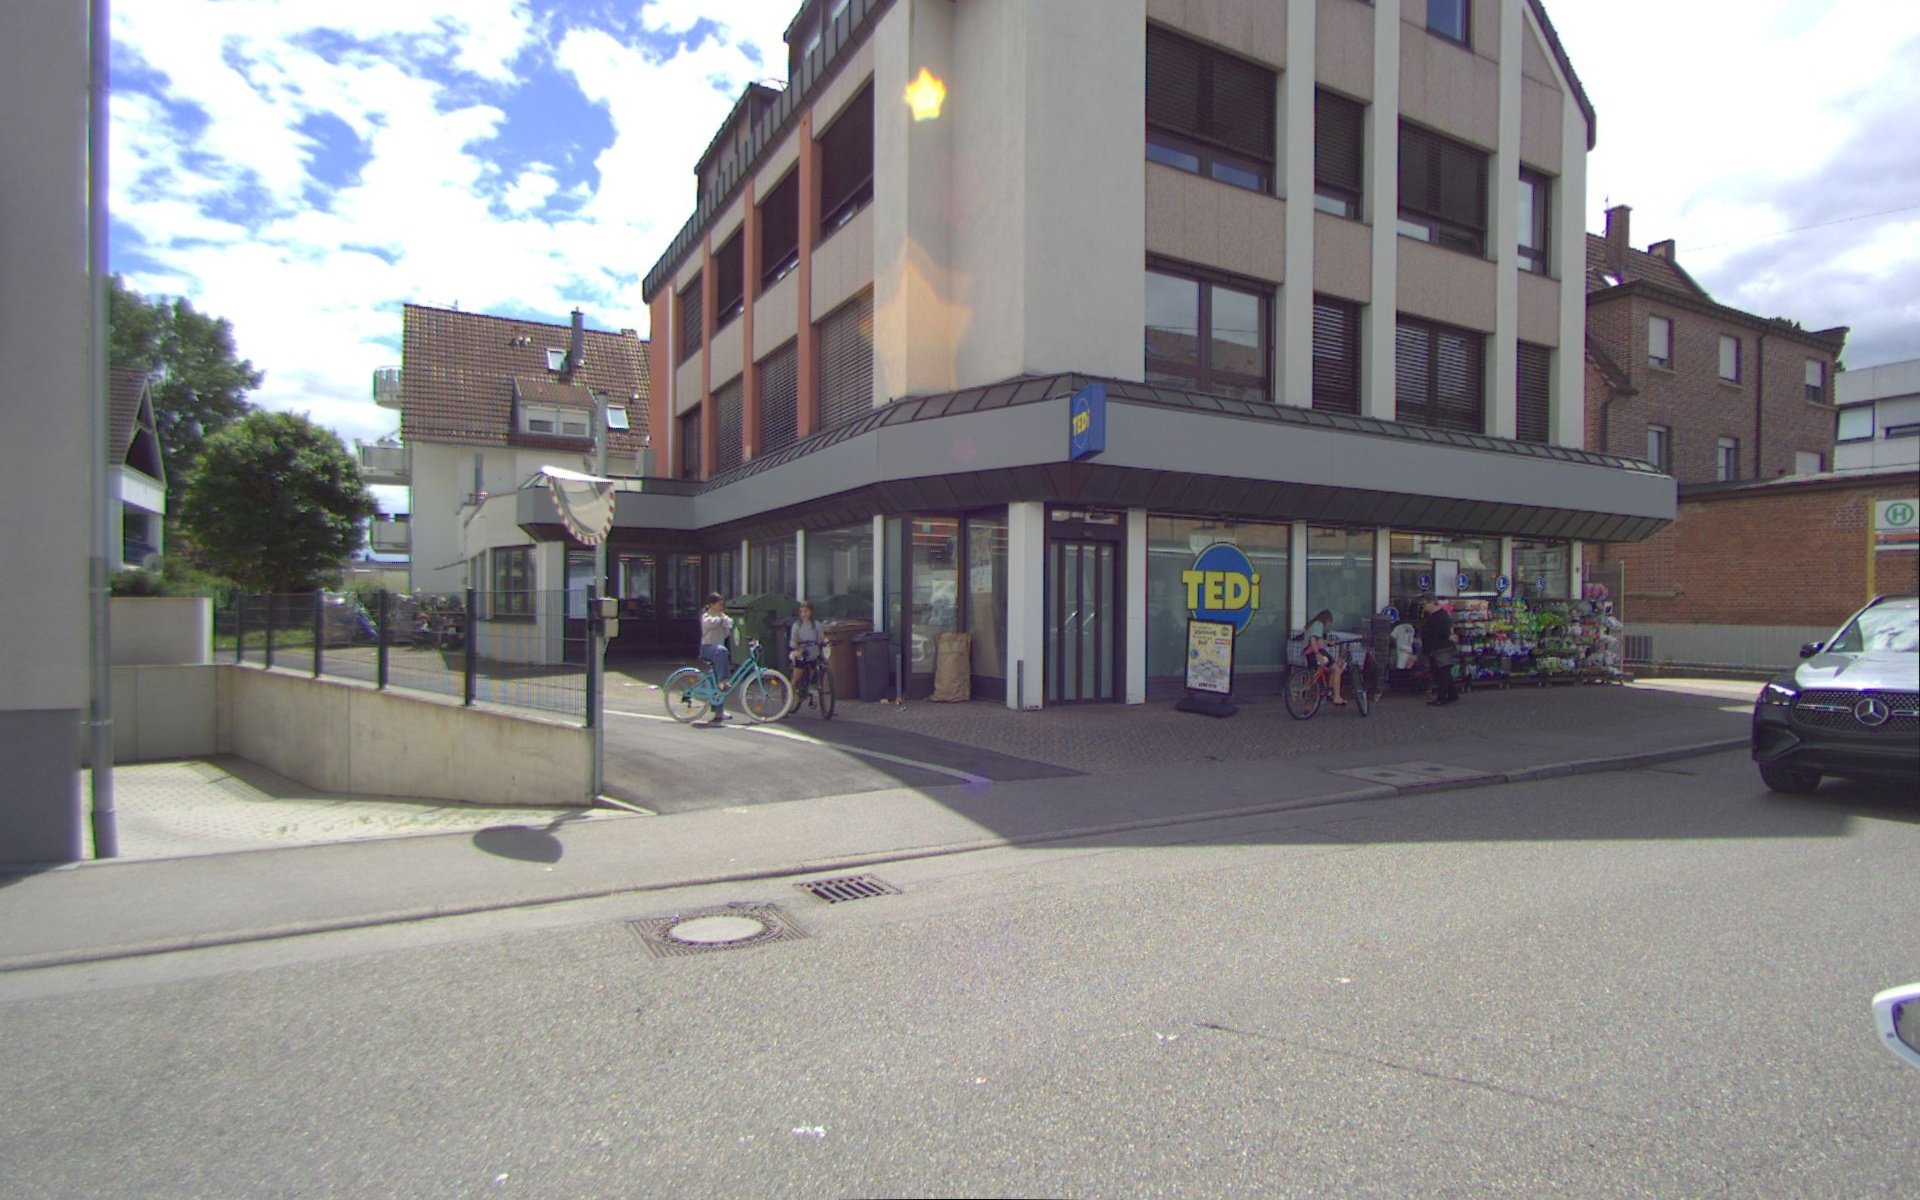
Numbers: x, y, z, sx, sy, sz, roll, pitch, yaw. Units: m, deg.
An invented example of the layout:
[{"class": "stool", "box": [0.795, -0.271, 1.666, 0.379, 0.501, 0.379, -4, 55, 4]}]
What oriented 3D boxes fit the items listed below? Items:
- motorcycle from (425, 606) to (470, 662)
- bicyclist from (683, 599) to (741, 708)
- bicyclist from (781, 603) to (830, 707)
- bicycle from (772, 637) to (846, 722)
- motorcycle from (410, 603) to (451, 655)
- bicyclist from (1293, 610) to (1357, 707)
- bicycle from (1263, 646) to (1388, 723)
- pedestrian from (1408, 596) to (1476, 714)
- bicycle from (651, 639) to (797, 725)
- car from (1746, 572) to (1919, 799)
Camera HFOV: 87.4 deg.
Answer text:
[{"class": "motorcycle", "box": [-13.779, 0.897, 26.962, 0.917, 1.380, 2.152, 2, 0, -30]}, {"class": "bicyclist", "box": [-2.825, 0.600, 11.464, 0.489, 1.197, 0.397, 2, 0, 11]}, {"class": "bicyclist", "box": [-1.837, 0.646, 11.954, 0.392, 1.197, 0.495, 2, 0, -30]}, {"class": "bicycle", "box": [-1.815, 0.914, 11.933, 0.299, 0.908, 1.543, 1, -1, -31]}, {"class": "motorcycle", "box": [-15.383, 0.814, 29.148, 0.917, 1.380, 2.152, 2, 0, -30]}, {"class": "bicyclist", "box": [4.627, 0.727, 12.724, 0.617, 1.194, 0.456, 2, -1, -30]}, {"class": "bicycle", "box": [4.640, 1.043, 12.710, 1.756, 0.873, 0.465, 0, 1, -30]}, {"class": "pedestrian", "box": [6.841, 0.764, 14.261, 0.555, 1.624, 0.626, 2, 0, -25]}, {"class": "bicycle", "box": [-2.684, 0.923, 11.429, 1.619, 0.908, 0.303, 1, -1, 11]}, {"class": "car", "box": [9.140, 0.730, 9.086, 4.303, 1.749, 1.830, 2, -1, -32]}]
